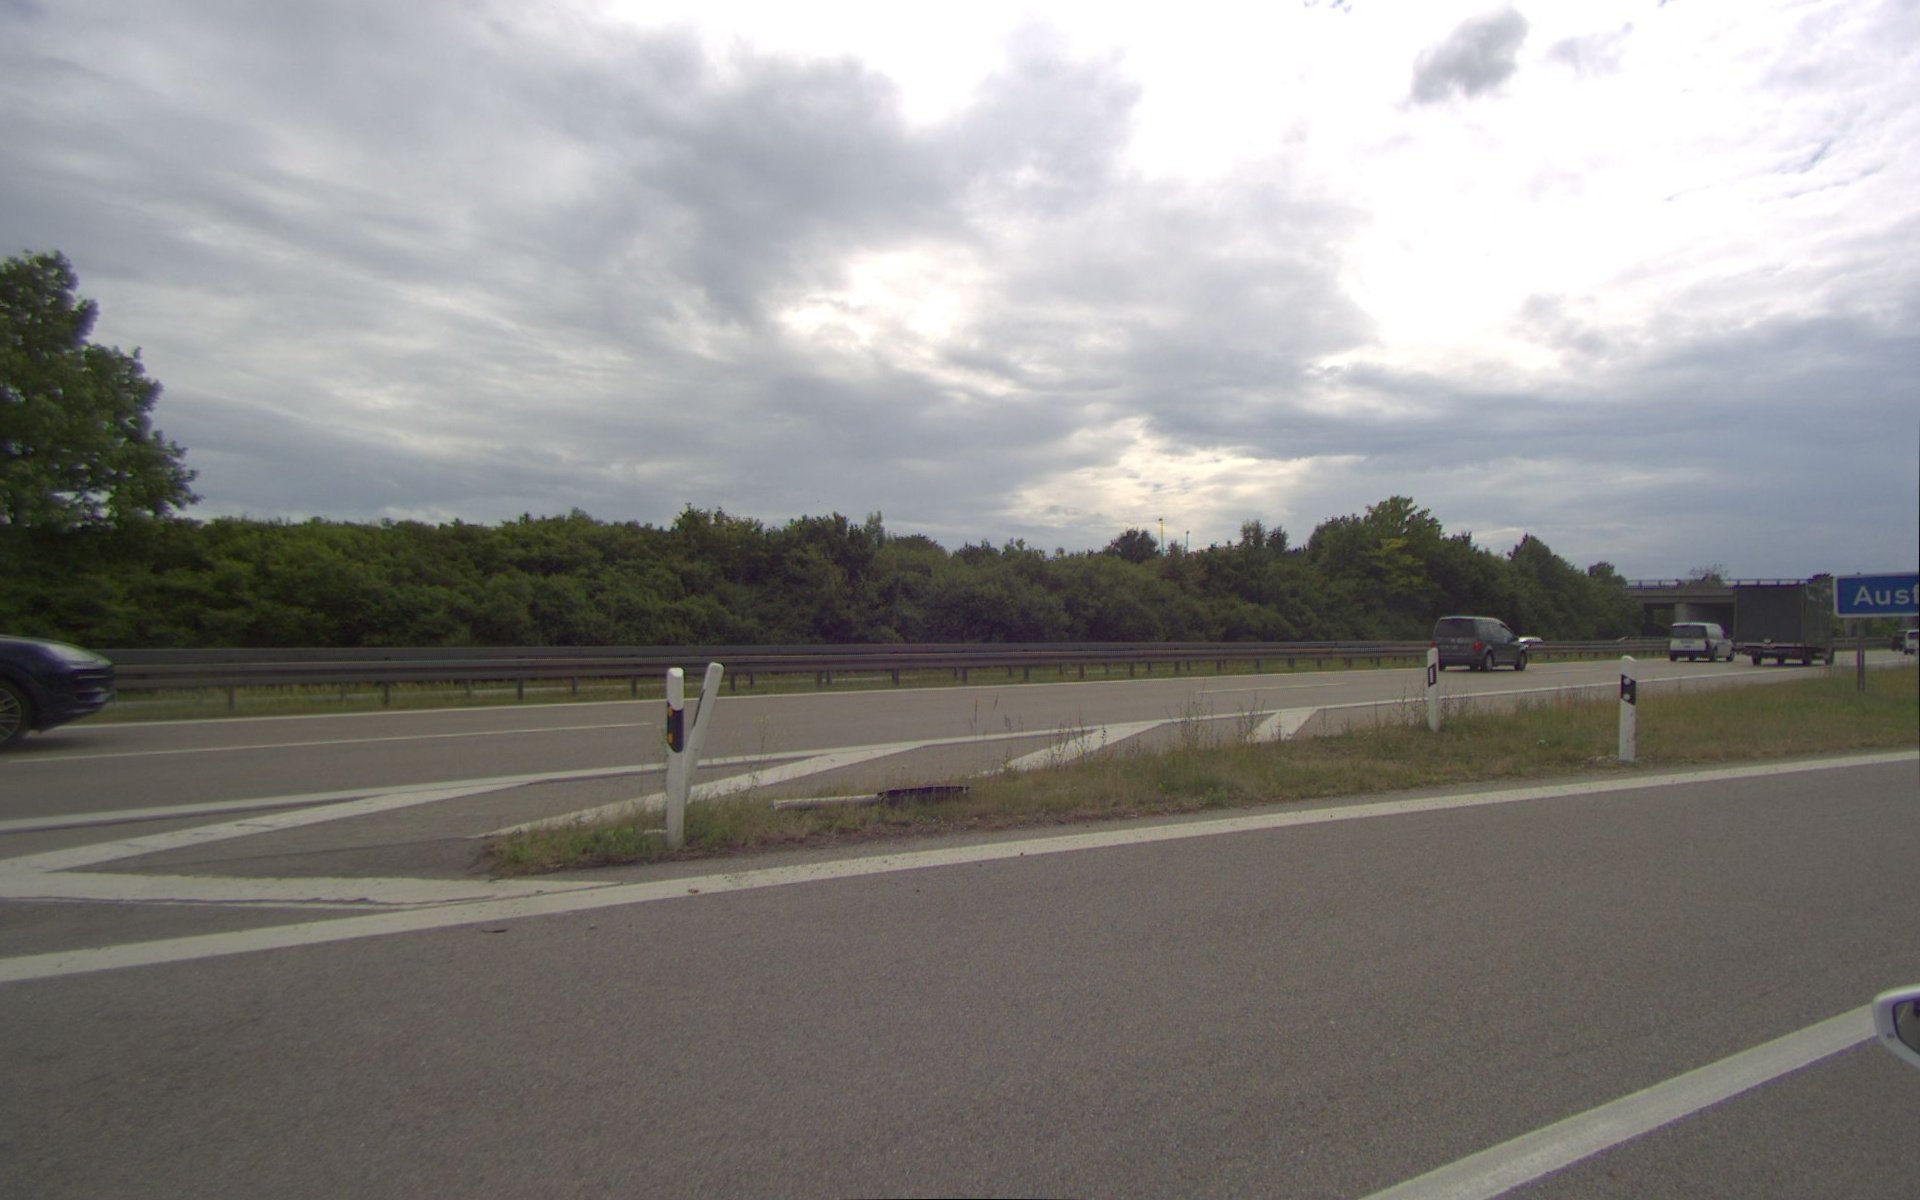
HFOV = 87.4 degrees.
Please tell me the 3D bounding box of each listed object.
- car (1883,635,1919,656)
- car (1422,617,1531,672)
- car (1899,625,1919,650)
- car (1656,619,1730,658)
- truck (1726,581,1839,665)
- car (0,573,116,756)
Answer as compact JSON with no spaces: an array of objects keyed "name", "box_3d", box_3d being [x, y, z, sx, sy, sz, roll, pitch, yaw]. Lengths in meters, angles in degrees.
[{"name":"car","box_3d":[84.686,4.032,90.210,5.367,1.809,1.977,2,-2,-40]},{"name":"car","box_3d":[17.653,1.489,34.264,4.301,1.782,1.830,2,-2,-40]},{"name":"car","box_3d":[70.212,2.749,73.331,4.448,1.774,1.861,2,-2,-39]},{"name":"car","box_3d":[35.684,1.864,48.895,3.966,1.834,1.978,2,-2,-39]},{"name":"truck","box_3d":[36.548,1.099,44.537,7.860,3.415,2.447,2,-3,-40]},{"name":"car","box_3d":[-11.101,0.611,9.434,4.789,1.766,1.977,2,-3,-40]}]
